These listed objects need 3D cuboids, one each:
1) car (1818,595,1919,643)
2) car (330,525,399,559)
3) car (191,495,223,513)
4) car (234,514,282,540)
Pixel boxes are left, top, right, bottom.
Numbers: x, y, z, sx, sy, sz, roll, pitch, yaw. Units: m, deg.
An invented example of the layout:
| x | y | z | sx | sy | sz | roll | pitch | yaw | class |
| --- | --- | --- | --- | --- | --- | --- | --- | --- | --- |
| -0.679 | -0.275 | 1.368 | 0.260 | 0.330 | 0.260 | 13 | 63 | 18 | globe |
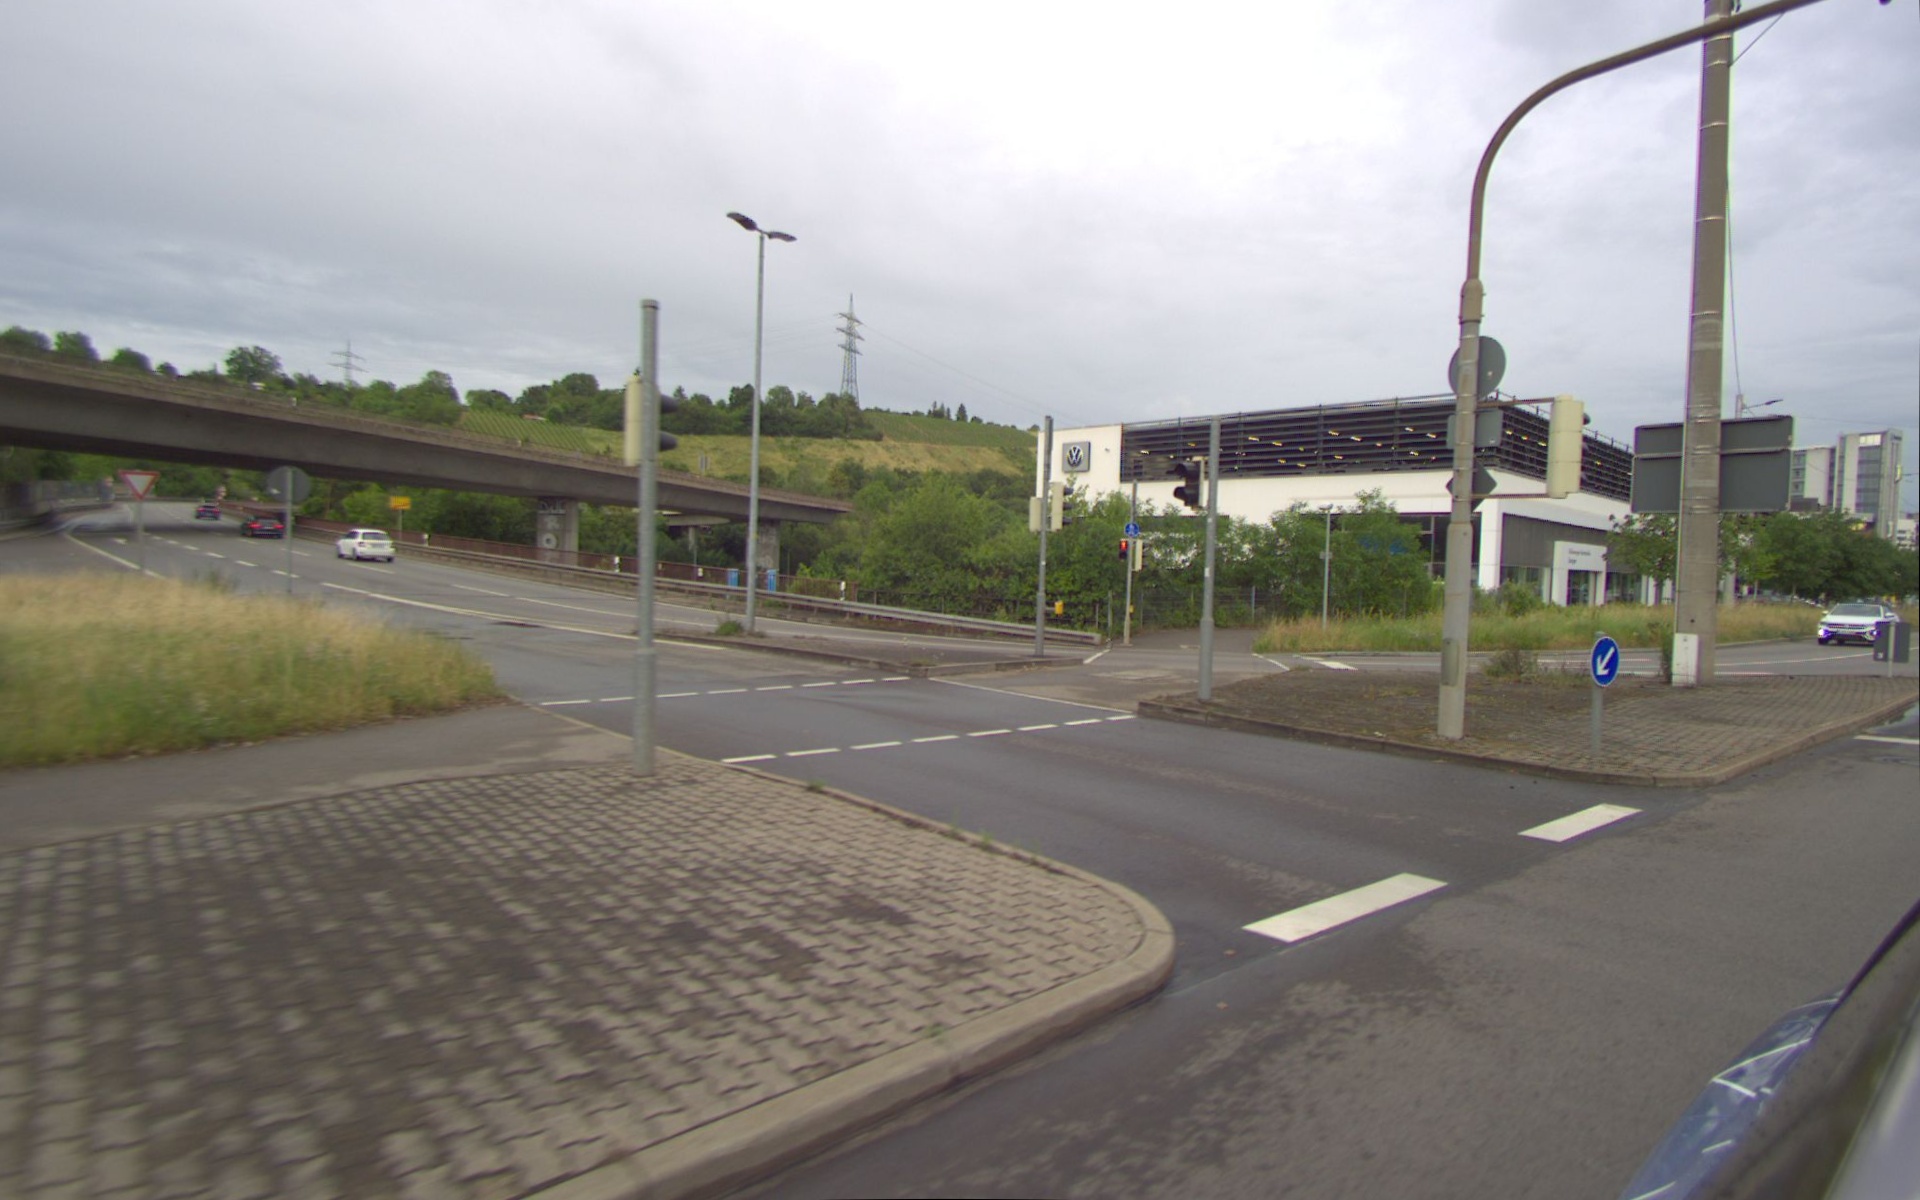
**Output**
| x | y | z | sx | sy | sz | roll | pitch | yaw | class |
| --- | --- | --- | --- | --- | --- | --- | --- | --- | --- |
| 32.636 | 0.618 | 36.254 | 4.034 | 1.559 | 2.041 | 0 | 2 | -37 | car |
| -28.170 | -2.739 | 47.799 | 1.872 | 1.503 | 3.990 | 1 | 2 | -45 | car |
| -71.790 | -9.110 | 96.508 | 1.872 | 1.503 | 3.990 | 1 | 2 | -45 | car |
| -45.114 | -4.666 | 65.030 | 1.872 | 1.503 | 3.990 | 1 | 2 | -45 | car |
